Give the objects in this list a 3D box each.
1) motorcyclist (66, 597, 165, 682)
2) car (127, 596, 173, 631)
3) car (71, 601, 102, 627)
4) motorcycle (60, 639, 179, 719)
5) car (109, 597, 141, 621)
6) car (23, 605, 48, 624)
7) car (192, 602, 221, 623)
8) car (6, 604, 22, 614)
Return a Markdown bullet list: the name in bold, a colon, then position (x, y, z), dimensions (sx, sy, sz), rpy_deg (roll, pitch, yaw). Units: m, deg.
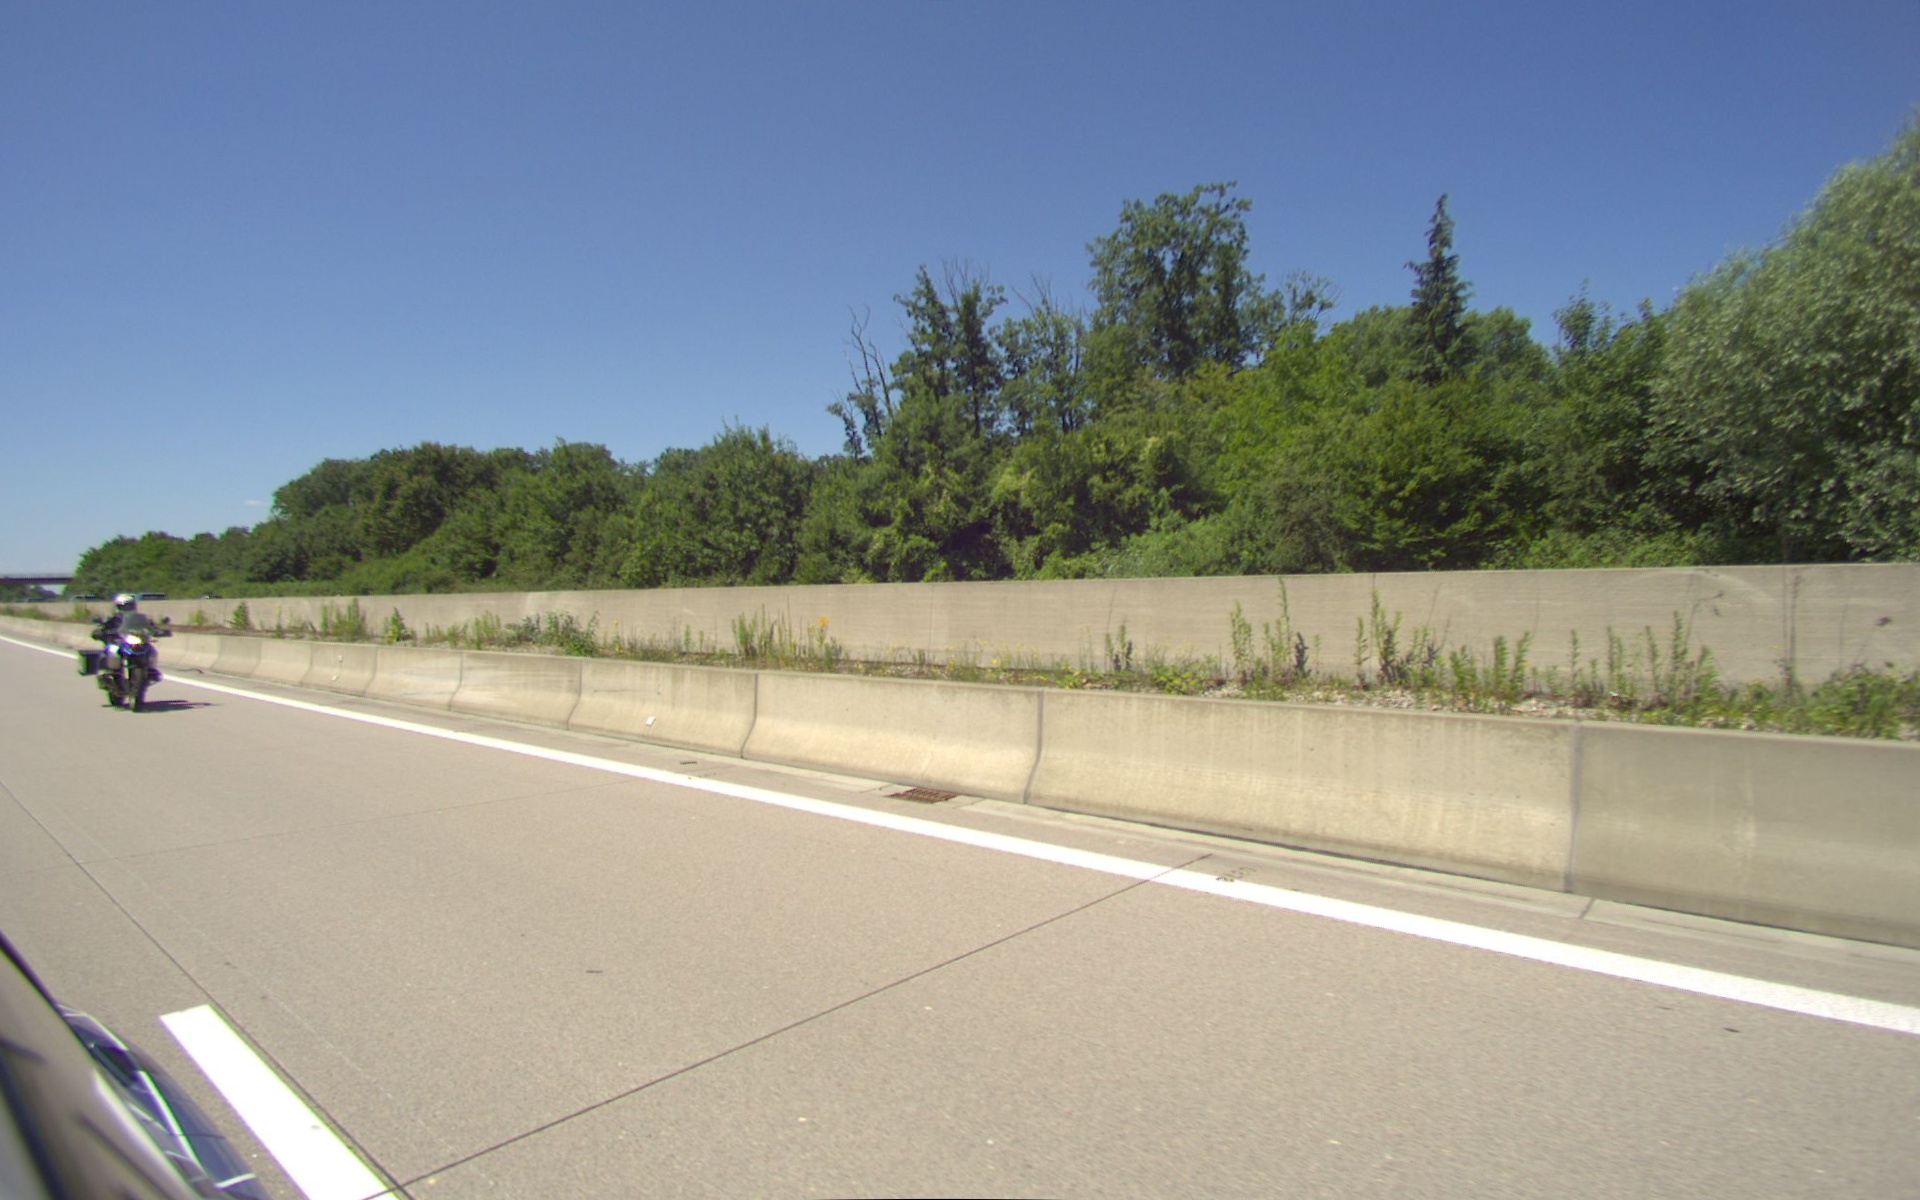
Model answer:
- **motorcyclist**: position (-12.761, 0.578, 15.301), dimensions (0.911, 1.218, 1.014), rpy_deg (-2, -1, 41)
- **car**: position (-48.806, 0.792, 60.954), dimensions (4.786, 2.029, 1.417), rpy_deg (-1, 0, 42)
- **car**: position (-68.188, 1.077, 78.968), dimensions (3.519, 2.029, 1.417), rpy_deg (-1, 0, 42)
- **motorcycle**: position (-12.660, 1.140, 15.211), dimensions (2.411, 1.056, 1.010), rpy_deg (-1, -1, 41)
- **car**: position (-73.738, 0.803, 89.365), dimensions (4.102, 2.029, 1.617), rpy_deg (-1, 0, 42)
- **car**: position (-100.627, 1.601, 110.142), dimensions (3.652, 2.029, 1.618), rpy_deg (-1, 0, 42)
- **car**: position (-65.289, 1.074, 87.722), dimensions (3.272, 1.728, 1.417), rpy_deg (-1, 0, 42)
- **car**: position (-167.973, 1.643, 179.671), dimensions (4.405, 1.670, 1.685), rpy_deg (-3, -4, 42)
